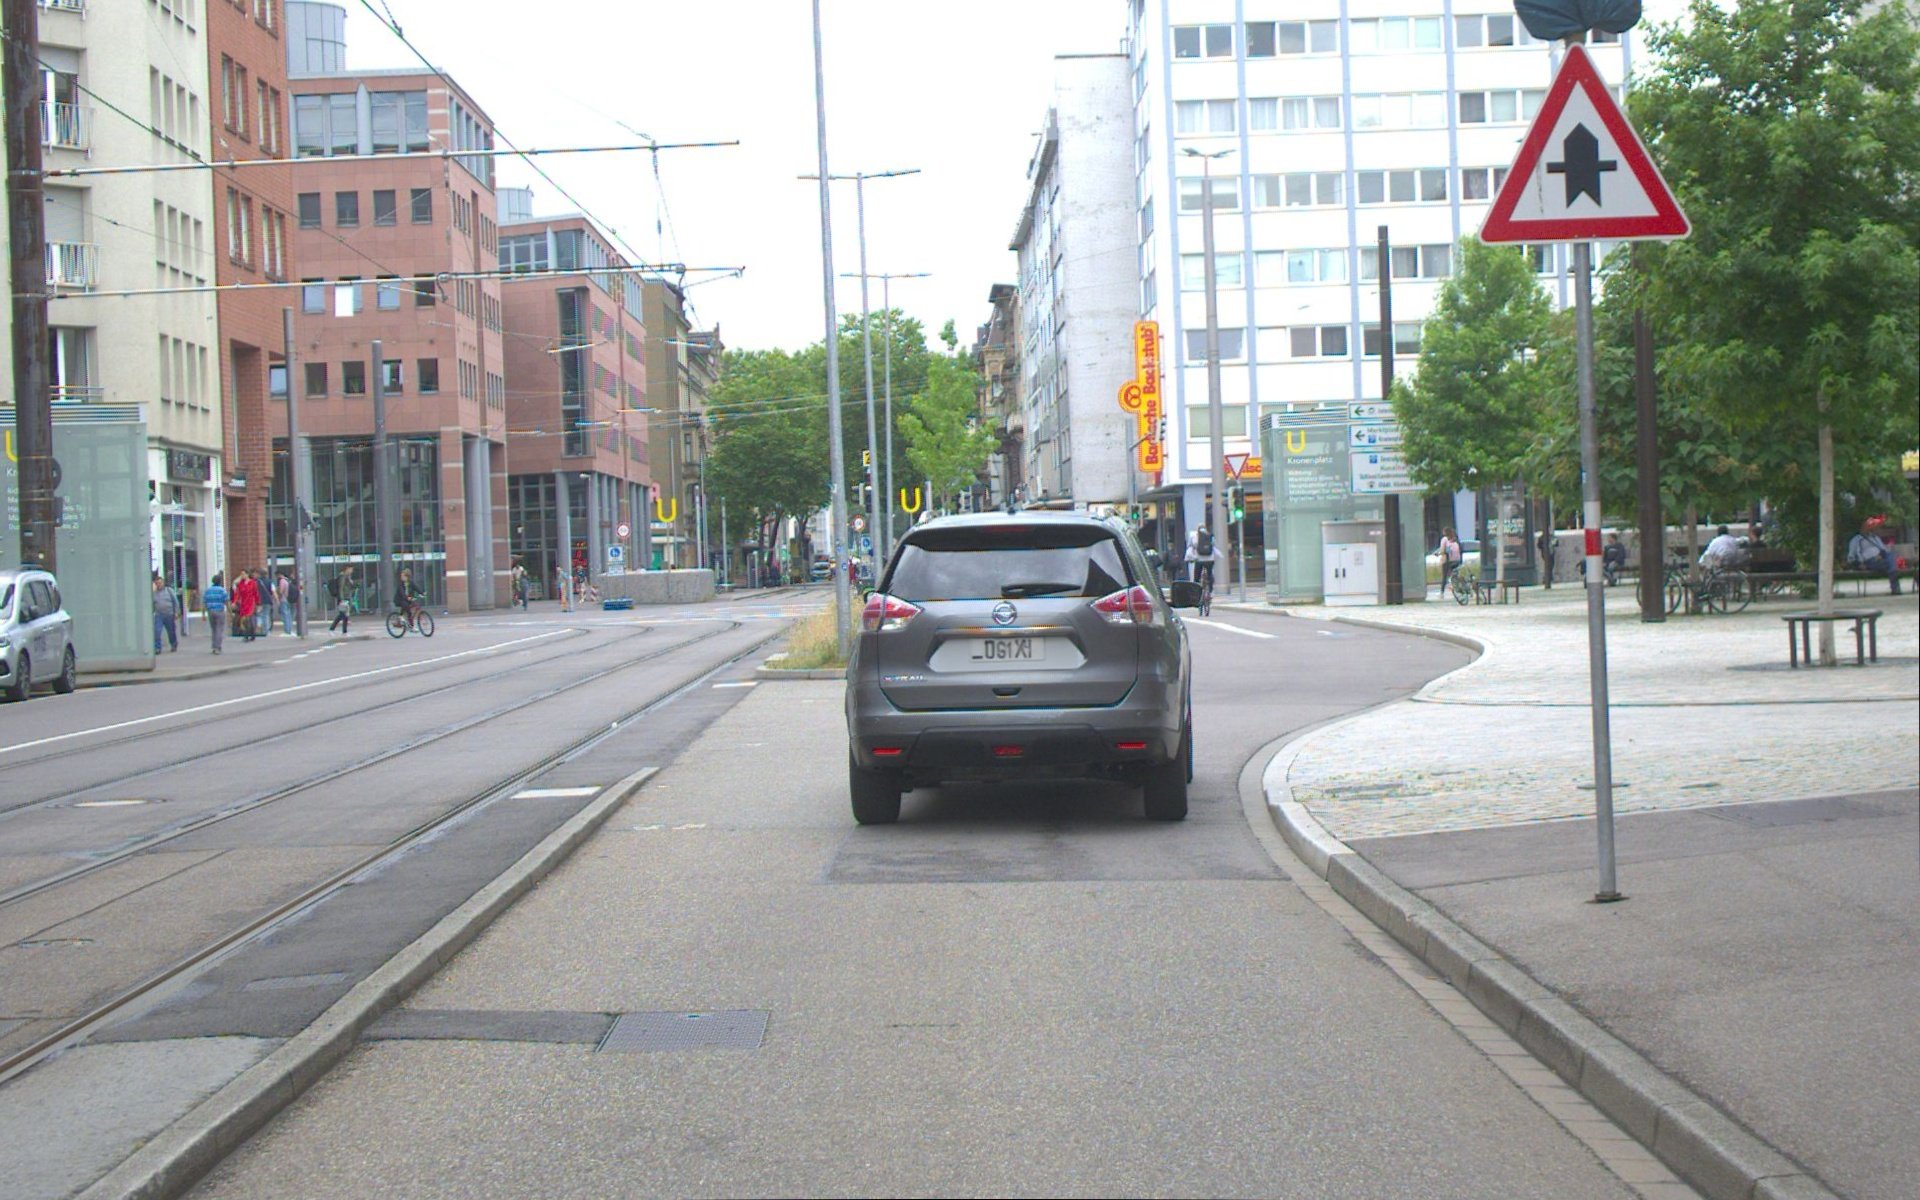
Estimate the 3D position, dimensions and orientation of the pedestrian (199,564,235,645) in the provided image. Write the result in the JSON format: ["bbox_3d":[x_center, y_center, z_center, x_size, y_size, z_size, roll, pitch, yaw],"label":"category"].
[{"bbox_3d":[-15.777,0.099,73.032,0.660,1.681,0.723,-2,-1,-10],"label":"pedestrian"}]

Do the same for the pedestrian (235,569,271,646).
[{"bbox_3d":[-15.919,0.169,77.411,0.720,1.681,0.662,-2,-1,-11],"label":"pedestrian"}]

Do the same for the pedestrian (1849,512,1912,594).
[{"bbox_3d":[15.524,-0.791,58.003,0.628,1.361,1.410,-1,0,-2],"label":"pedestrian"}]

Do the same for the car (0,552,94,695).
[{"bbox_3d":[-13.337,0.341,46.976,1.902,1.858,4.521,-4,1,-2],"label":"car"}]

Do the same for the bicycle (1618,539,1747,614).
[{"bbox_3d":[11.172,-0.367,53.185,1.915,1.119,0.645,-1,0,10],"label":"bicycle"}]

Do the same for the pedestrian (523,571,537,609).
[{"bbox_3d":[-17.455,-0.408,139.432,0.449,1.527,0.522,-1,0,-18],"label":"pedestrian"}]

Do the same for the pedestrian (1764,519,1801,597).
[{"bbox_3d":[14.746,-0.752,61.603,0.543,1.361,1.279,-1,0,17],"label":"pedestrian"}]

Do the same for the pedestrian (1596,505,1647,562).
[{"bbox_3d":[15.804,-1.578,82.149,1.044,1.292,0.733,-4,0,5],"label":"pedestrian"}]

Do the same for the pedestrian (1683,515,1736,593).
[{"bbox_3d":[13.327,-0.815,61.136,0.628,1.361,0.688,-1,0,-19],"label":"pedestrian"}]

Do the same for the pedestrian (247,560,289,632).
[{"bbox_3d":[-16.607,-0.096,82.509,0.868,1.681,0.662,-2,-1,-15],"label":"pedestrian"}]

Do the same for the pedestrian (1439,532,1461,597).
[{"bbox_3d":[11.726,-0.849,82.234,0.432,1.550,0.499,-1,0,-1],"label":"pedestrian"}]

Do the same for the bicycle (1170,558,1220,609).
[{"bbox_3d":[5.005,-0.360,73.305,0.902,1.041,3.277,-2,0,2],"label":"bicycle"}]

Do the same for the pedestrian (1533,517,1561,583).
[{"bbox_3d":[15.813,-1.351,92.573,0.671,1.755,0.641,-1,0,15],"label":"pedestrian"}]

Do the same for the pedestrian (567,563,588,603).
[{"bbox_3d":[-17.900,-0.793,160.764,0.701,1.835,0.734,-1,0,17],"label":"pedestrian"}]

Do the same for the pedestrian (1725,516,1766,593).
[{"bbox_3d":[14.038,-0.812,61.428,0.628,1.361,0.918,-1,0,17],"label":"pedestrian"}]

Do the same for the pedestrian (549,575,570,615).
[{"bbox_3d":[-18.457,-0.219,158.415,0.732,1.835,0.702,-1,0,-25],"label":"pedestrian"}]

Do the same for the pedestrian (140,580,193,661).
[{"bbox_3d":[-16.871,0.436,73.095,0.721,1.681,0.824,-3,-1,18],"label":"pedestrian"}]

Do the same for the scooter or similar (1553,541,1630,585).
[{"bbox_3d":[15.150,-0.882,82.483,1.590,0.945,0.723,-4,0,38],"label":"scooter or similar"}]

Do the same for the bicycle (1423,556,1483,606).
[{"bbox_3d":[10.281,-0.396,71.677,0.659,0.975,1.752,-2,1,28],"label":"bicycle"}]

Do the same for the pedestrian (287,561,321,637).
[{"bbox_3d":[-14.963,-0.019,78.439,0.660,1.681,0.723,-2,-1,-13],"label":"pedestrian"}]

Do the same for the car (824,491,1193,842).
[{"bbox_3d":[0.355,0.272,19.942,1.863,1.768,4.567,-1,2,3],"label":"car"}]

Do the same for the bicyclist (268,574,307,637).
[{"bbox_3d":[-16.821,0.125,86.056,0.809,1.535,0.492,-3,0,1],"label":"bicyclist"}]

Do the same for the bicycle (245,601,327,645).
[{"bbox_3d":[-16.872,0.572,86.056,1.906,1.017,0.478,-3,0,2],"label":"bicycle"}]

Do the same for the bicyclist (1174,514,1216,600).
[{"bbox_3d":[5.008,-0.916,73.249,0.834,1.806,0.877,-1,0,2],"label":"bicyclist"}]

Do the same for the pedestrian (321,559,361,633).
[{"bbox_3d":[-15.871,-0.097,88.104,0.896,1.883,0.799,-1,-1,-3],"label":"pedestrian"}]

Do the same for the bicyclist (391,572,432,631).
[{"bbox_3d":[-13.427,0.029,84.120,0.810,1.402,0.480,-2,0,26],"label":"bicyclist"}]

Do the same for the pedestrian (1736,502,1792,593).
[{"bbox_3d":[16.483,-1.062,70.482,0.713,1.796,1.078,-5,0,-2],"label":"pedestrian"}]

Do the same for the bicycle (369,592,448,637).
[{"bbox_3d":[-13.506,0.362,84.165,1.908,1.017,0.480,-2,0,24],"label":"bicycle"}]
